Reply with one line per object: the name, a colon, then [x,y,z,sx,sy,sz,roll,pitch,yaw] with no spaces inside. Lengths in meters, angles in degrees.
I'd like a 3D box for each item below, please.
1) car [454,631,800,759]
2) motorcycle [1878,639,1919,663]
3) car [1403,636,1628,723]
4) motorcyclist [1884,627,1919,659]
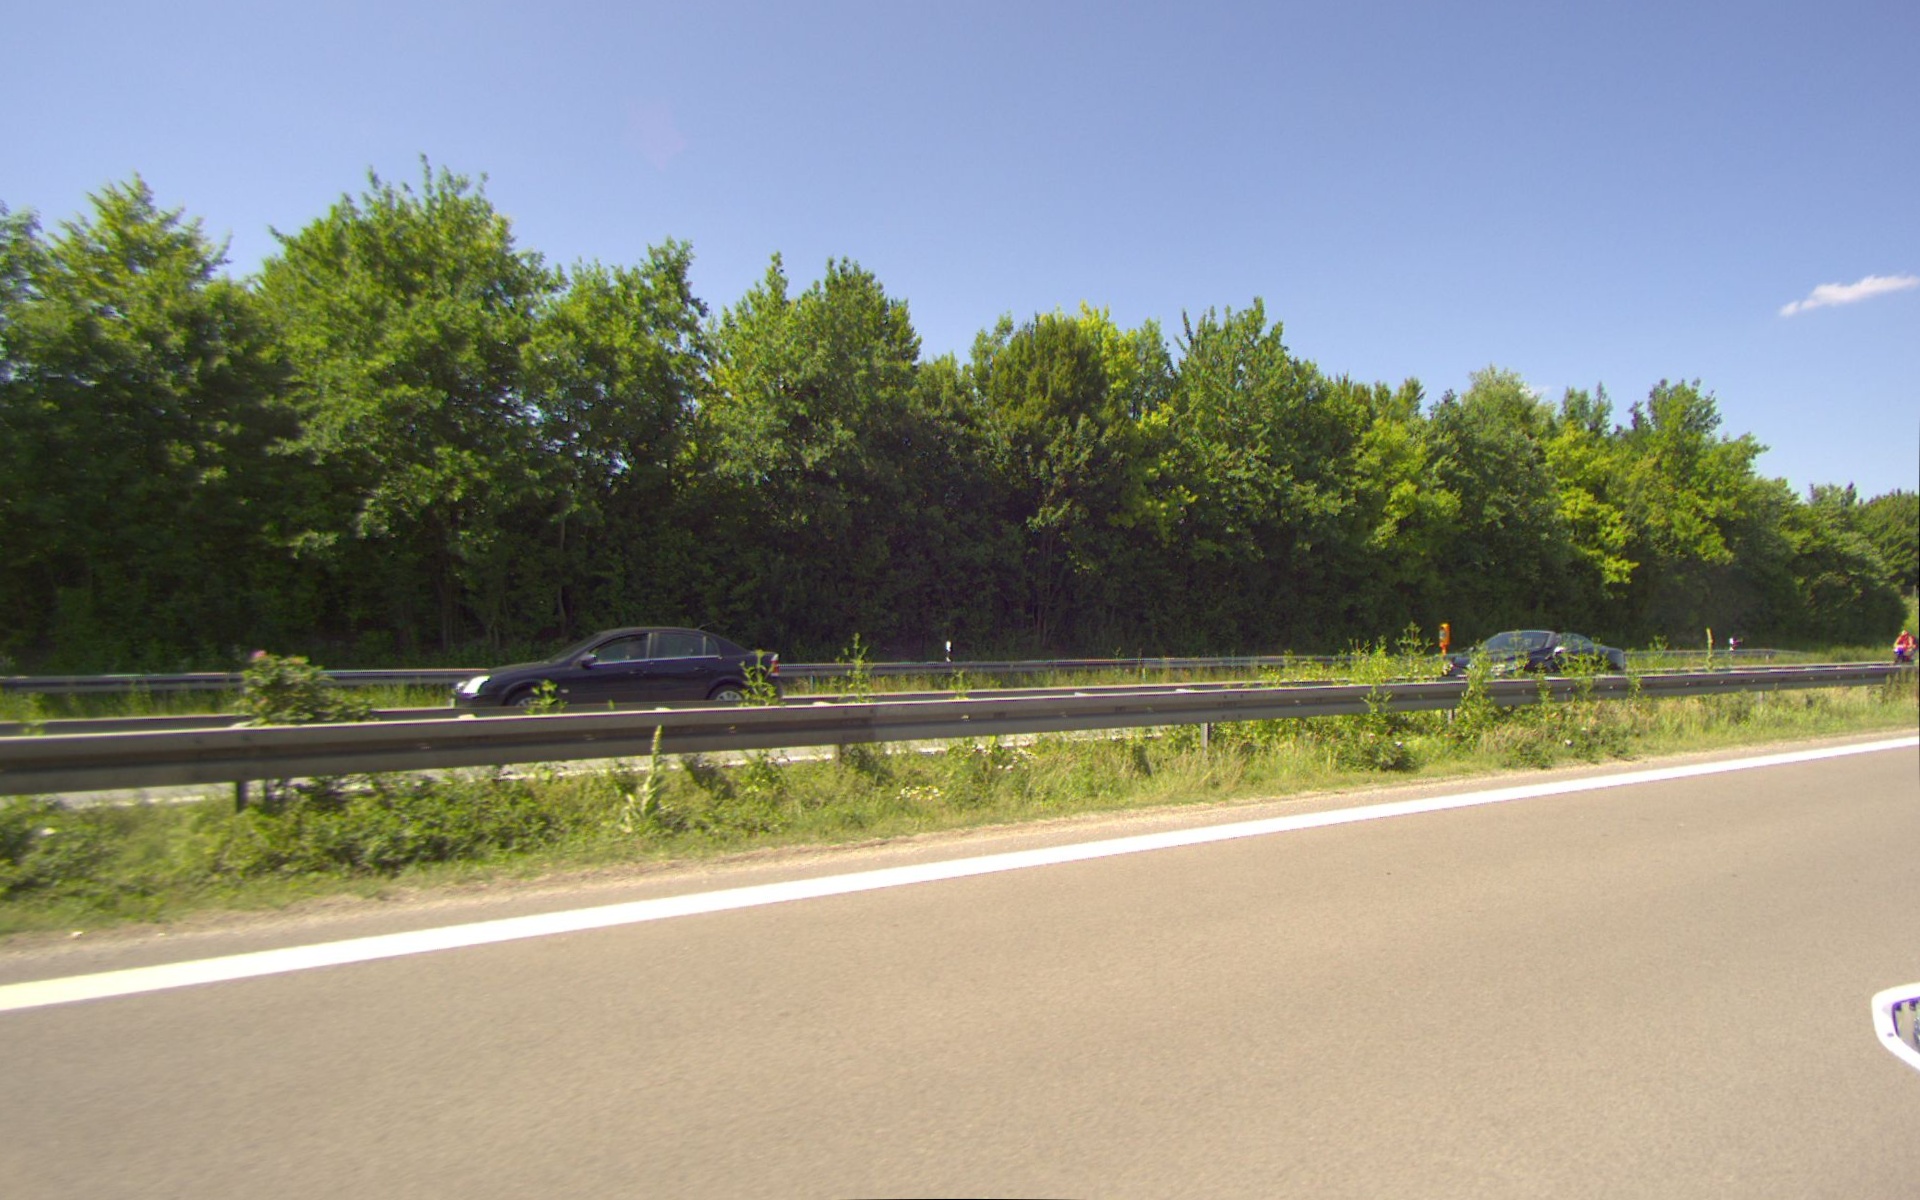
car: [-4.778,1.259,14.605,4.505,1.606,1.858,1,-2,-31]
motorcycle: [43.734,2.358,46.637,2.624,1.031,0.931,1,-2,-30]
car: [11.045,1.484,19.907,4.376,1.540,1.984,1,-2,-31]
motorcyclist: [43.846,1.983,46.721,1.341,1.463,0.936,1,-2,-31]
